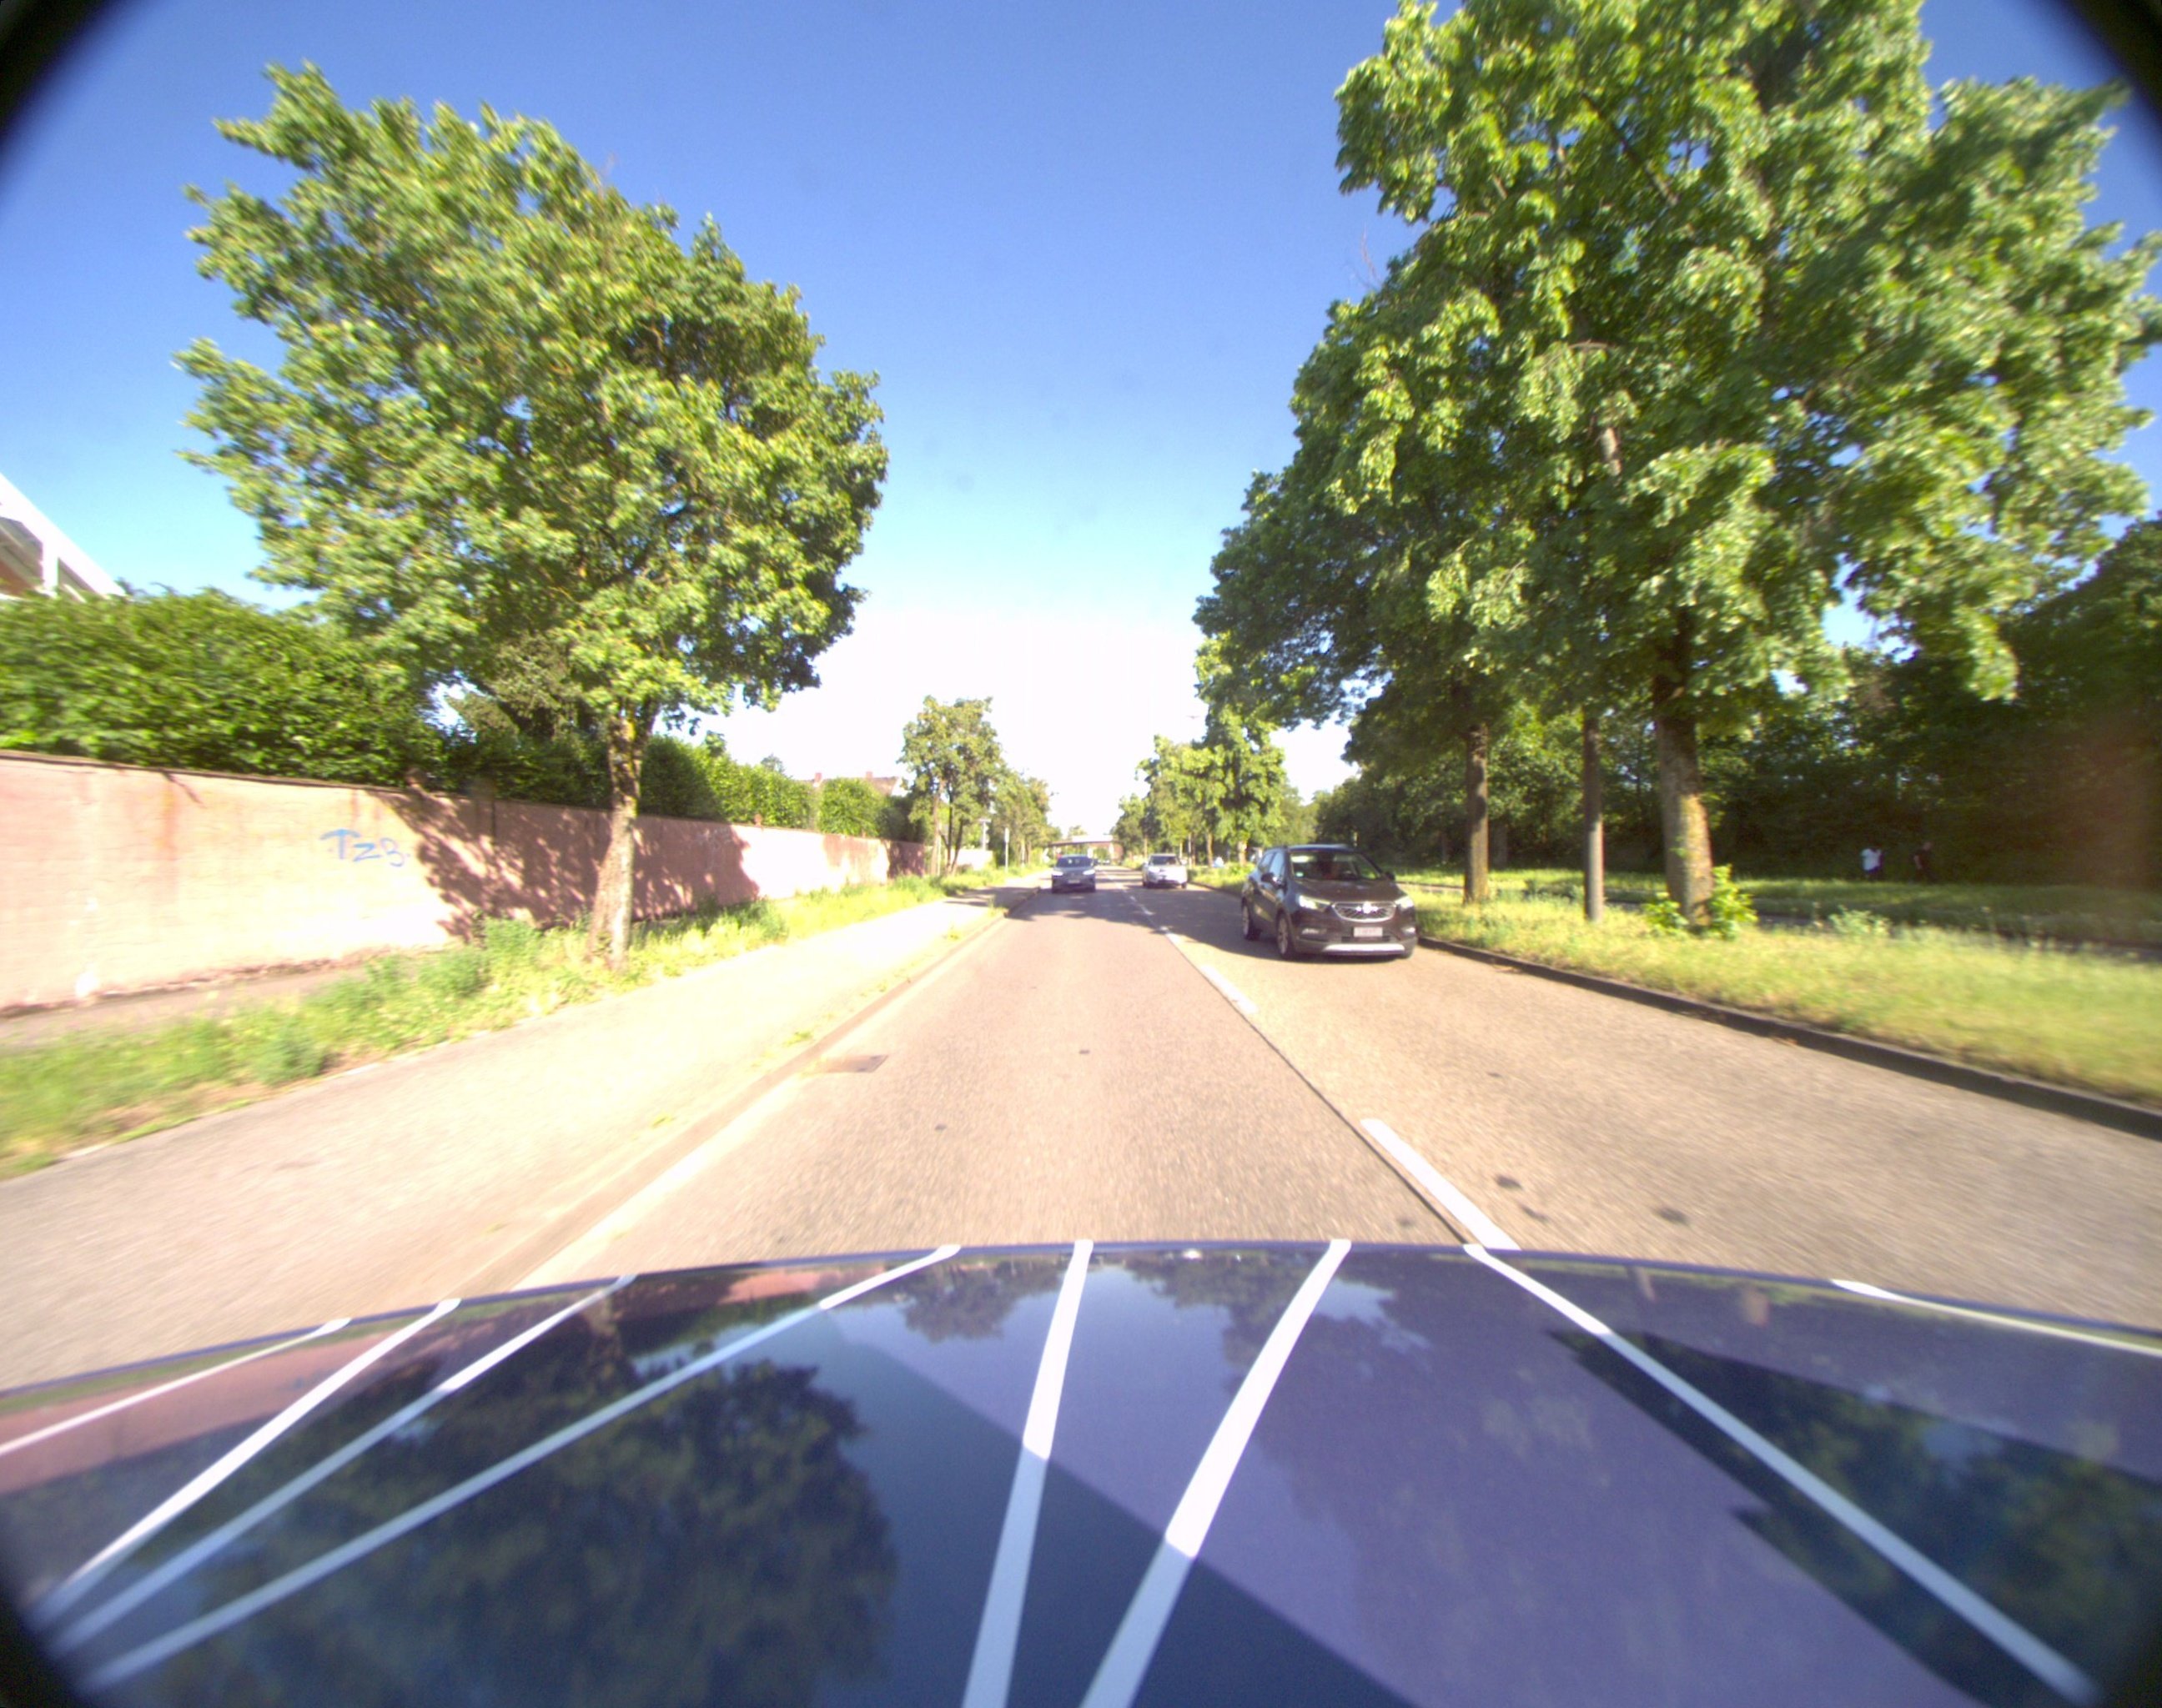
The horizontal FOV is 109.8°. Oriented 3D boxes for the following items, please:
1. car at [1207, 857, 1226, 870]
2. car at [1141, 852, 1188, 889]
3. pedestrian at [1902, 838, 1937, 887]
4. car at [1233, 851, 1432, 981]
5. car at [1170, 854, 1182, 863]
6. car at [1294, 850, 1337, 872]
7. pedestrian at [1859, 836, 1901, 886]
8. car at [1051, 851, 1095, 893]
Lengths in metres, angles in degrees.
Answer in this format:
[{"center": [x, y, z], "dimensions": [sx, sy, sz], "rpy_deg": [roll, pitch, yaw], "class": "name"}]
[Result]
[{"center": [17.346, 1.212, 97.234], "dimensions": [1.733, 1.569, 3.747], "rpy_deg": [1, 0, 1], "class": "car"}, {"center": [3.803, 0.701, 35.187], "dimensions": [1.789, 1.600, 4.106], "rpy_deg": [0, 1, 1], "class": "car"}, {"center": [28.519, 0.282, 25.847], "dimensions": [0.561, 1.650, 0.540], "rpy_deg": [-2, 1, -4], "class": "pedestrian"}, {"center": [3.646, 0.778, 11.897], "dimensions": [1.700, 1.622, 4.417], "rpy_deg": [-1, 0, 1], "class": "car"}, {"center": [17.199, 0.720, 137.686], "dimensions": [1.733, 1.569, 3.747], "rpy_deg": [1, 0, 1], "class": "car"}, {"center": [16.393, 0.462, 53.347], "dimensions": [1.730, 1.448, 4.346], "rpy_deg": [1, 0, 1], "class": "car"}, {"center": [27.119, 0.239, 25.803], "dimensions": [0.683, 1.650, 0.679], "rpy_deg": [-3, 1, -3], "class": "pedestrian"}, {"center": [-0.298, 0.741, 33.425], "dimensions": [1.766, 1.606, 4.296], "rpy_deg": [-2, 1, 1], "class": "car"}]
